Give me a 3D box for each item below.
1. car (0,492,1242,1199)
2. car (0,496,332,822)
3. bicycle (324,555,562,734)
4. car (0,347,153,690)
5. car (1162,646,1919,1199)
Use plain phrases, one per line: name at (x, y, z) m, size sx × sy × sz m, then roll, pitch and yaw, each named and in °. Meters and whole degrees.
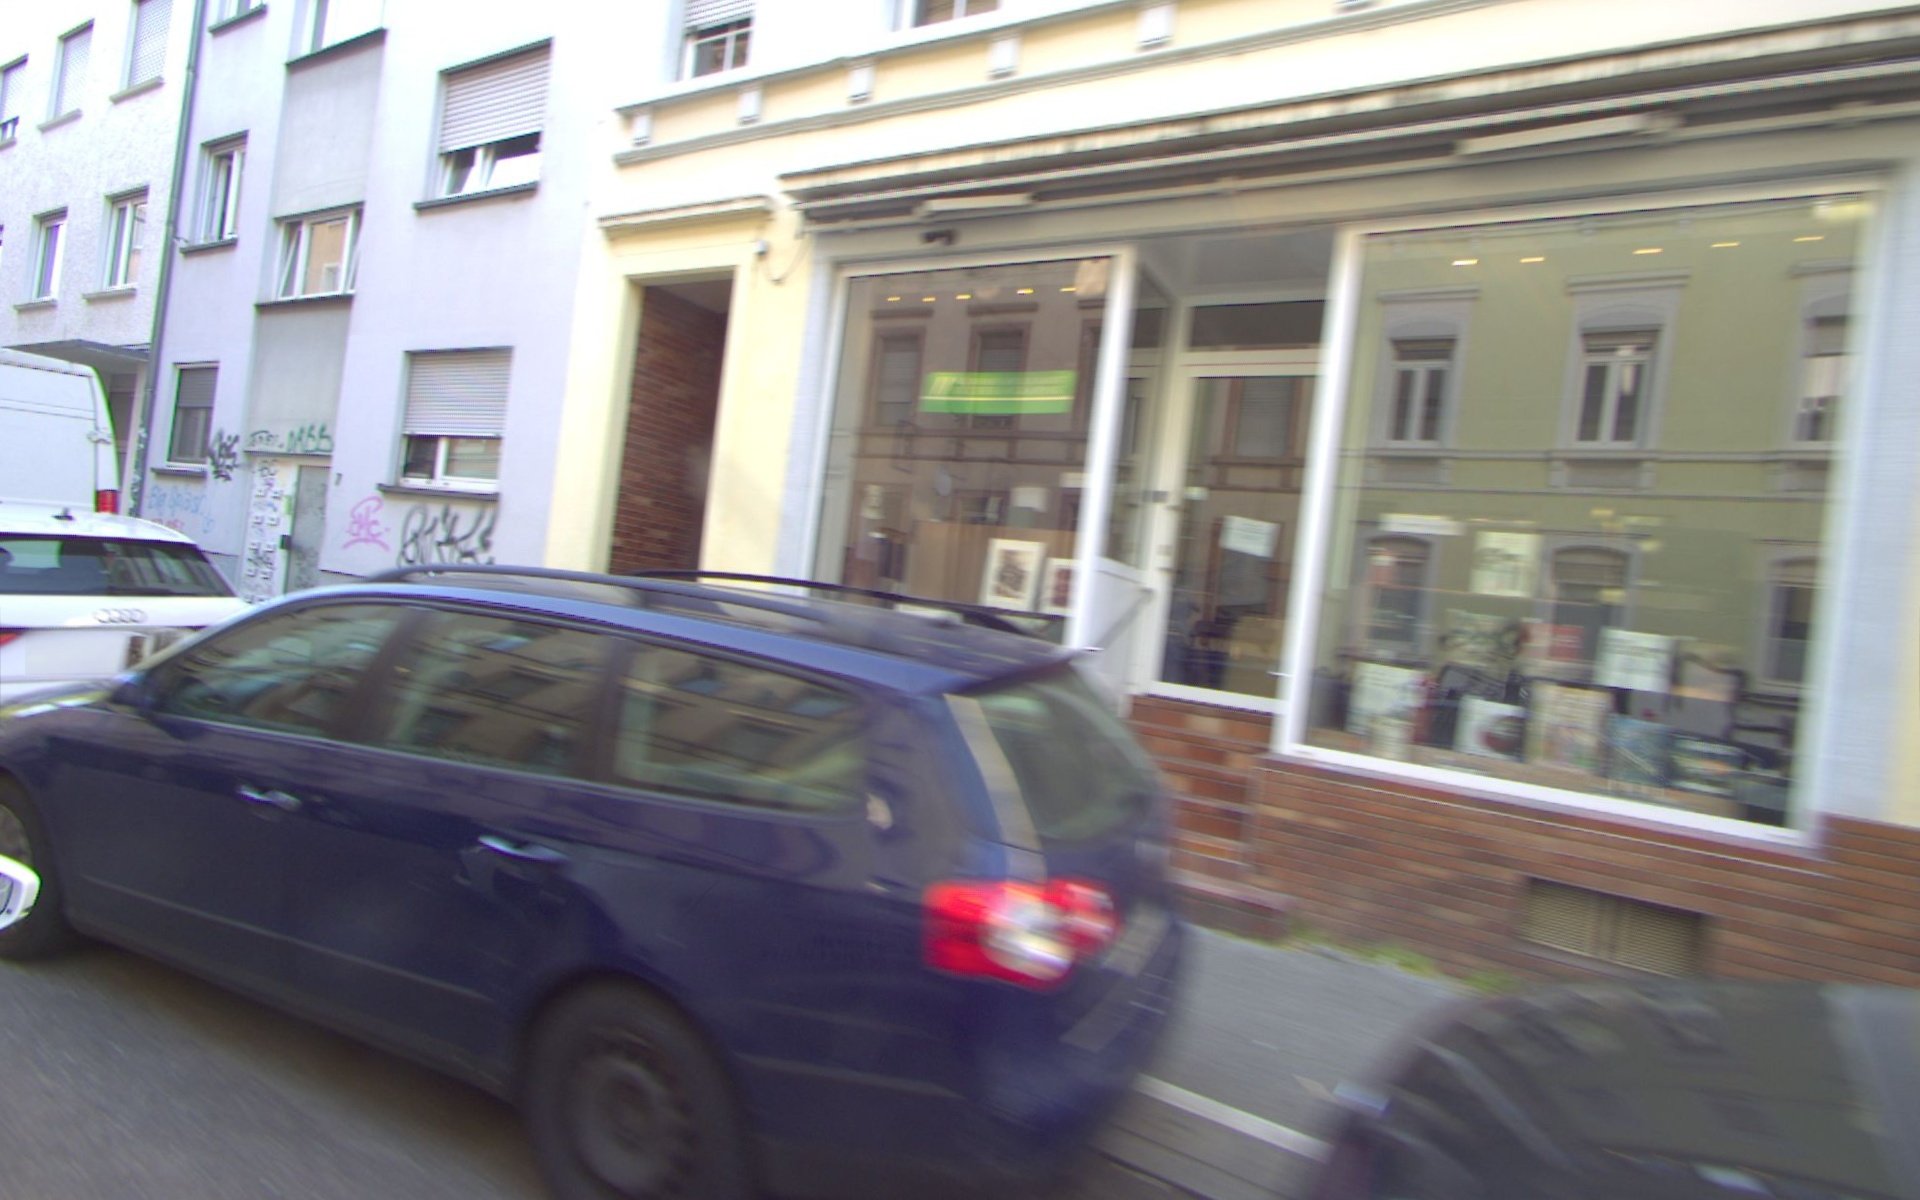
car at (-1.525, 0.607, 3.515) m, size 4.523 × 1.498 × 1.814 m, roll 7°, pitch 3°, yaw 22°
car at (-5.665, 0.124, 5.888) m, size 3.767 × 1.447 × 1.728 m, roll 7°, pitch 0°, yaw 30°
bicycle at (-4.382, 0.318, 8.432) m, size 2.313 × 1.174 × 0.627 m, roll 7°, pitch 3°, yaw 32°
car at (-9.872, -0.920, 9.066) m, size 5.938 × 2.582 × 2.206 m, roll 7°, pitch 0°, yaw 34°
car at (2.454, 1.084, 0.922) m, size 4.172 × 1.503 × 1.749 m, roll 7°, pitch 0°, yaw 31°
